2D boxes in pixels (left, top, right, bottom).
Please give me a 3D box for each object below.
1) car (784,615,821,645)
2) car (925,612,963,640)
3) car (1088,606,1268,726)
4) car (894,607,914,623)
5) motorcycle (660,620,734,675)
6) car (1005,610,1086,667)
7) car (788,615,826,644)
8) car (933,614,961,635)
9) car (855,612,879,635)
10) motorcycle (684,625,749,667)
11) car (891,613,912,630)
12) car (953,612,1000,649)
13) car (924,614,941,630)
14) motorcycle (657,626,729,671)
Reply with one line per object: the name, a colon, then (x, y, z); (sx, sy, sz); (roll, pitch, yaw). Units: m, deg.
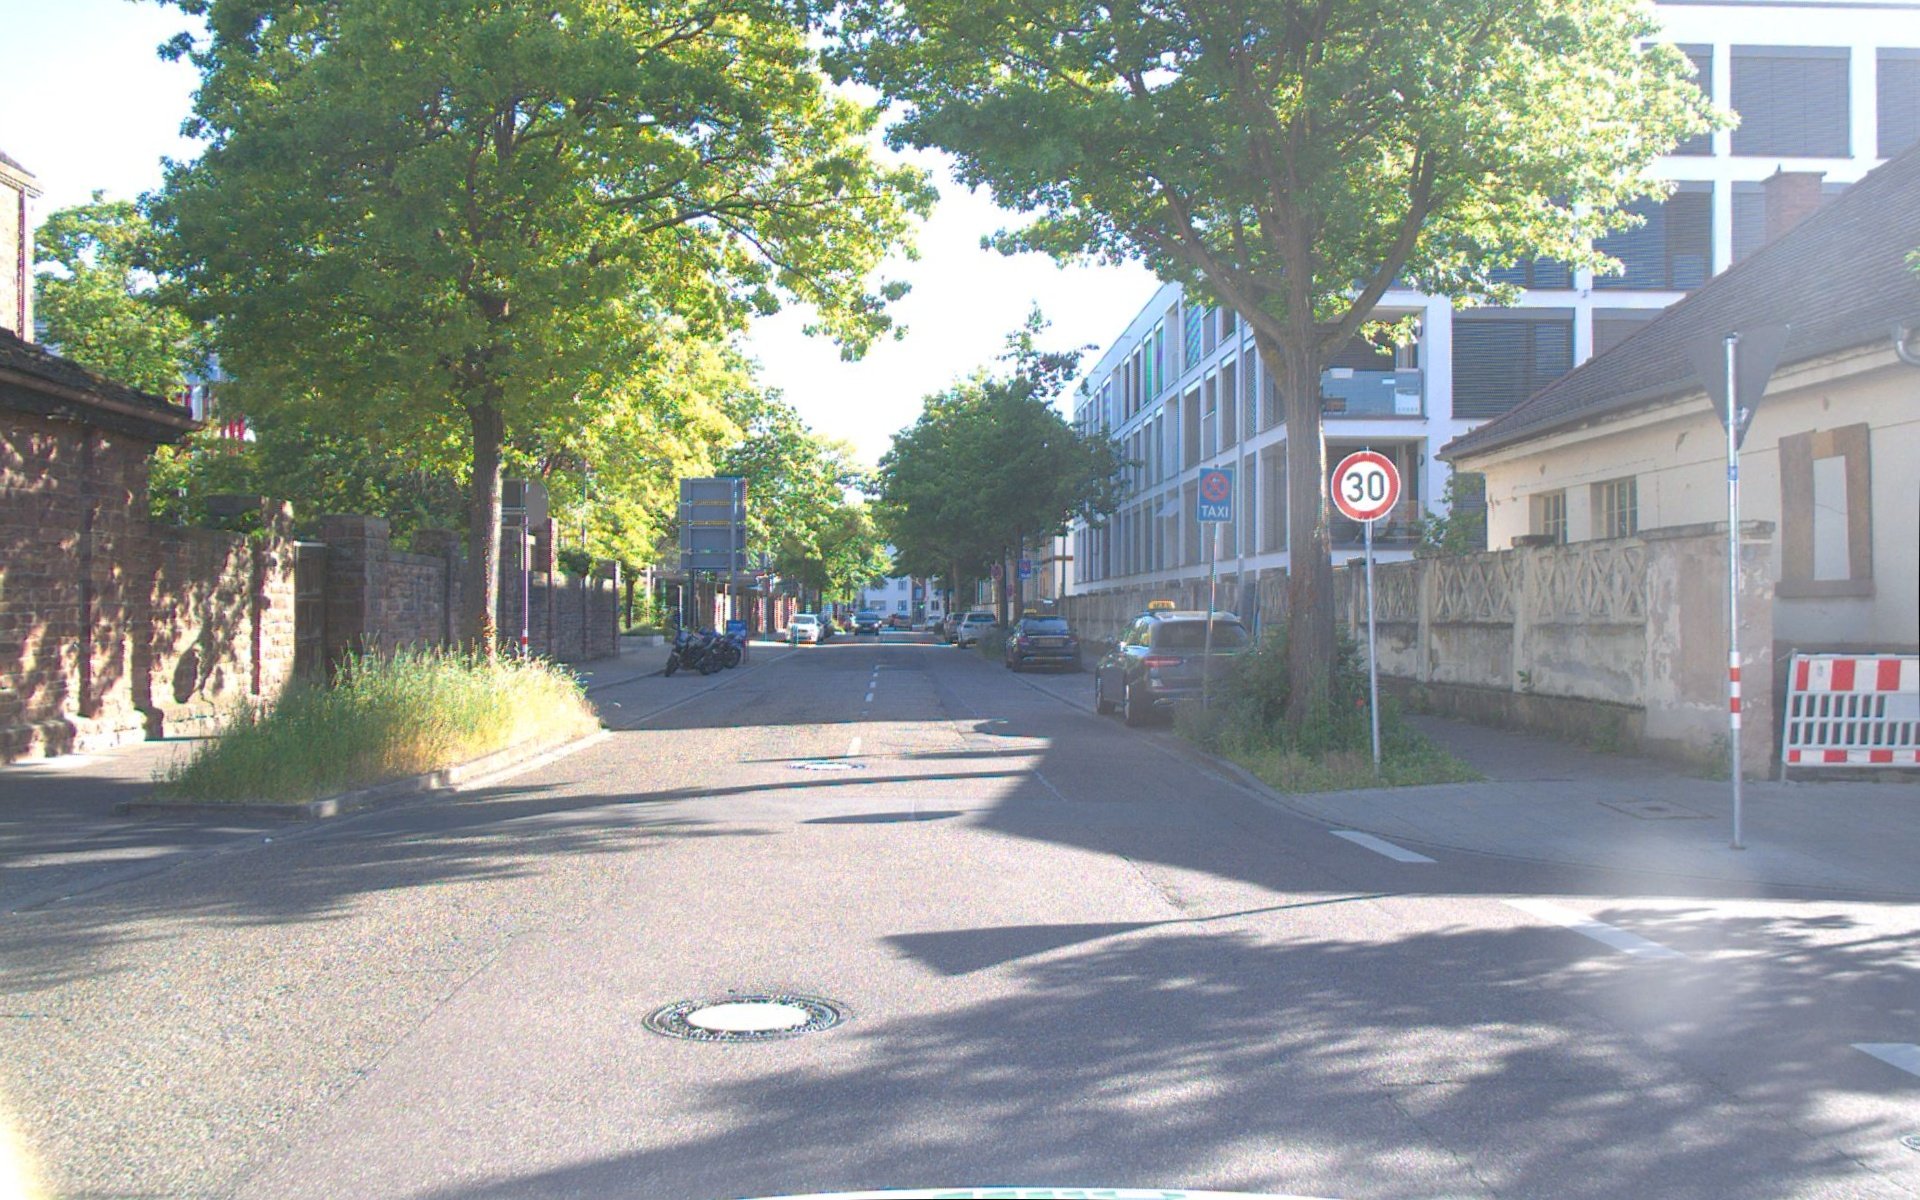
car: (-8.055, 1.509, 84.730); (1.732, 1.513, 3.997); (0, -1, -4)
car: (-0.890, 1.381, 88.712); (1.953, 1.491, 3.835); (0, 0, -2)
car: (2.913, 0.846, 23.070); (1.669, 1.494, 4.786); (0, -1, -3)
car: (-5.208, 1.390, 154.903); (1.851, 1.424, 3.835); (0, 0, -2)
motorcycle: (-6.418, 1.136, 40.425); (0.565, 1.298, 2.117); (0, -1, 30)
car: (2.241, 0.999, 44.350); (1.732, 1.465, 3.997); (0, -1, -4)
car: (-8.363, 1.602, 90.771); (1.869, 1.557, 3.998); (0, 0, -2)
car: (-0.965, 1.764, 119.887); (1.953, 1.450, 3.835); (0, 0, -2)
car: (-6.580, 1.654, 116.786); (1.620, 1.557, 3.998); (0, 0, -2)
motorcycle: (-6.564, 1.219, 44.678); (0.565, 1.093, 2.117); (0, -1, 30)
car: (-5.514, 2.027, 155.013); (1.732, 1.575, 4.061); (0, -1, -5)
car: (0.699, 1.320, 73.028); (1.911, 1.606, 3.835); (0, 0, -2)
car: (-2.578, 2.034, 154.024); (1.553, 1.424, 3.835); (0, 0, -2)
motorcycle: (-6.700, 1.208, 41.606); (0.565, 1.093, 2.117); (0, -1, 30)
